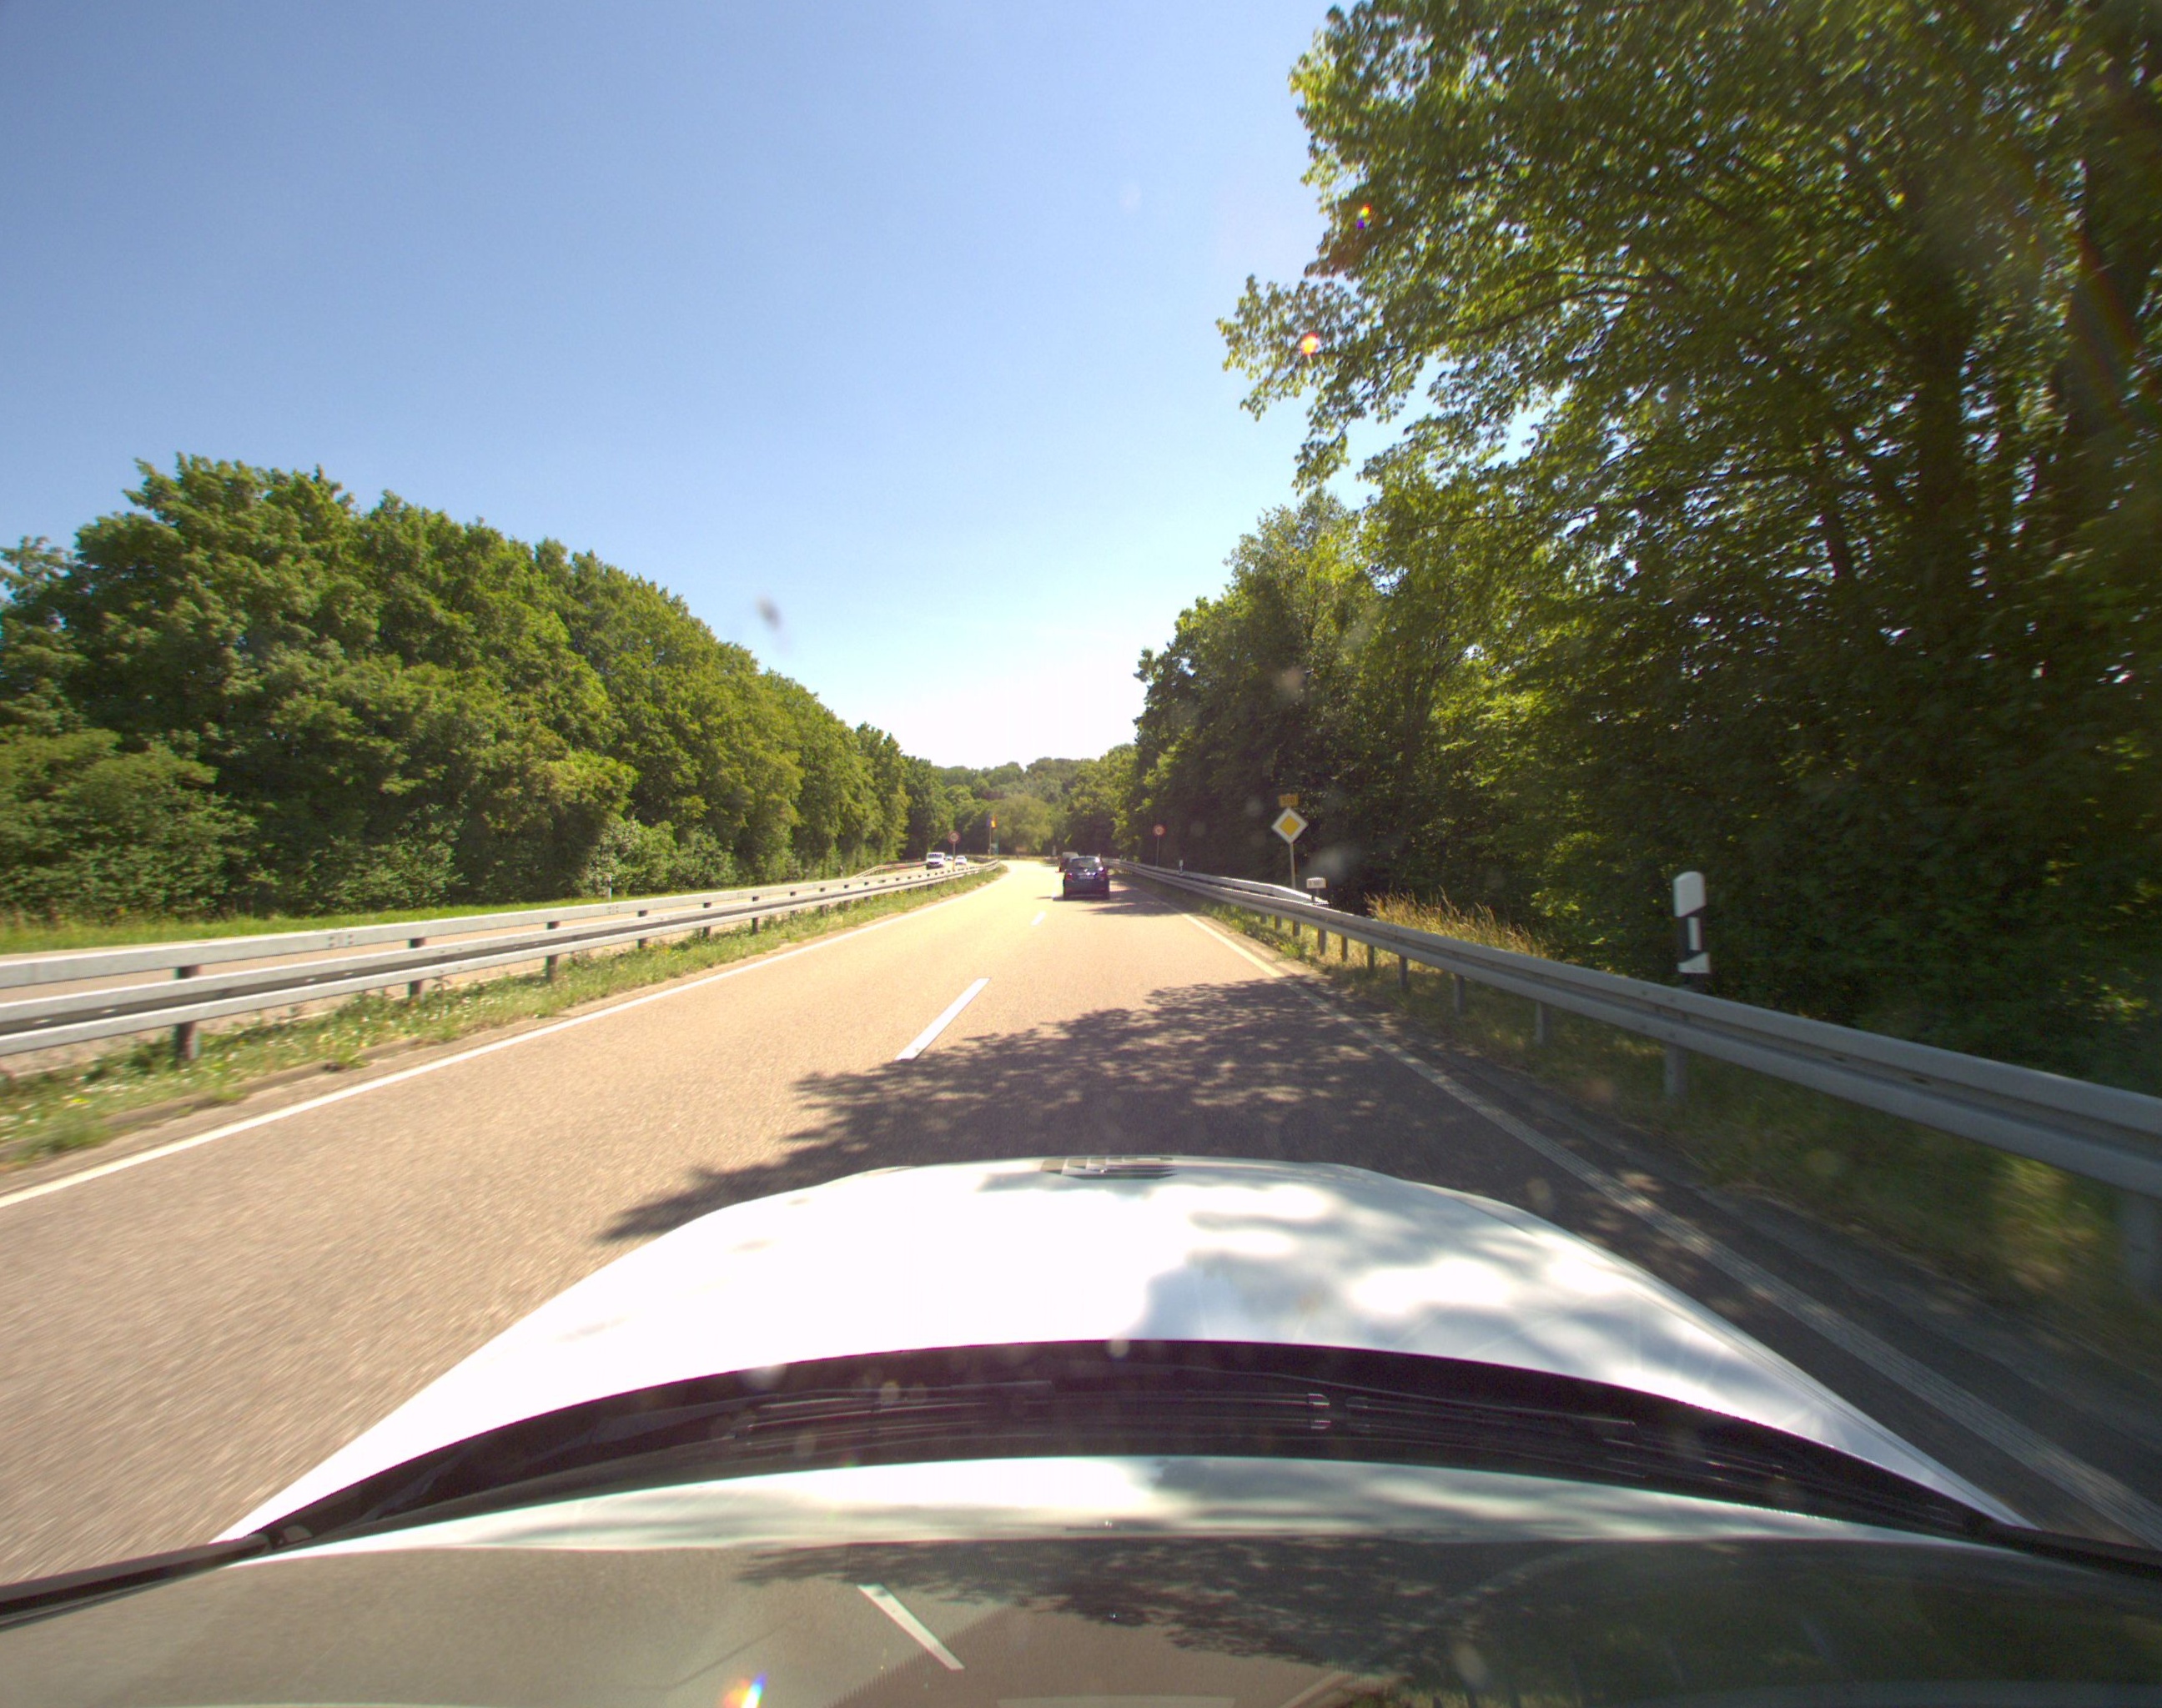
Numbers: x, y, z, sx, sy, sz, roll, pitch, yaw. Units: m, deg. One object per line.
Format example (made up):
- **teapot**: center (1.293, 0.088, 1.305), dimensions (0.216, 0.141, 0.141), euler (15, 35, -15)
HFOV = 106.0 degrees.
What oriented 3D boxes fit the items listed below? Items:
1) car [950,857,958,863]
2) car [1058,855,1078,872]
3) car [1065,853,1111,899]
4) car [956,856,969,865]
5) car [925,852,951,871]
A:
- **car**: center (-31.718, 1.523, 203.580), dimensions (1.649, 1.606, 4.210), euler (-1, 0, -7)
- **car**: center (-1.126, 0.789, 69.812), dimensions (1.522, 1.313, 3.410), euler (-1, 0, -4)
- **car**: center (0.229, 0.732, 29.083), dimensions (1.508, 1.501, 3.589), euler (-1, 0, 0)
- **car**: center (-19.203, 1.070, 131.953), dimensions (1.647, 1.447, 4.214), euler (-1, 0, -3)
- **car**: center (-16.123, 0.813, 91.949), dimensions (1.984, 1.951, 5.636), euler (-1, 0, -2)
